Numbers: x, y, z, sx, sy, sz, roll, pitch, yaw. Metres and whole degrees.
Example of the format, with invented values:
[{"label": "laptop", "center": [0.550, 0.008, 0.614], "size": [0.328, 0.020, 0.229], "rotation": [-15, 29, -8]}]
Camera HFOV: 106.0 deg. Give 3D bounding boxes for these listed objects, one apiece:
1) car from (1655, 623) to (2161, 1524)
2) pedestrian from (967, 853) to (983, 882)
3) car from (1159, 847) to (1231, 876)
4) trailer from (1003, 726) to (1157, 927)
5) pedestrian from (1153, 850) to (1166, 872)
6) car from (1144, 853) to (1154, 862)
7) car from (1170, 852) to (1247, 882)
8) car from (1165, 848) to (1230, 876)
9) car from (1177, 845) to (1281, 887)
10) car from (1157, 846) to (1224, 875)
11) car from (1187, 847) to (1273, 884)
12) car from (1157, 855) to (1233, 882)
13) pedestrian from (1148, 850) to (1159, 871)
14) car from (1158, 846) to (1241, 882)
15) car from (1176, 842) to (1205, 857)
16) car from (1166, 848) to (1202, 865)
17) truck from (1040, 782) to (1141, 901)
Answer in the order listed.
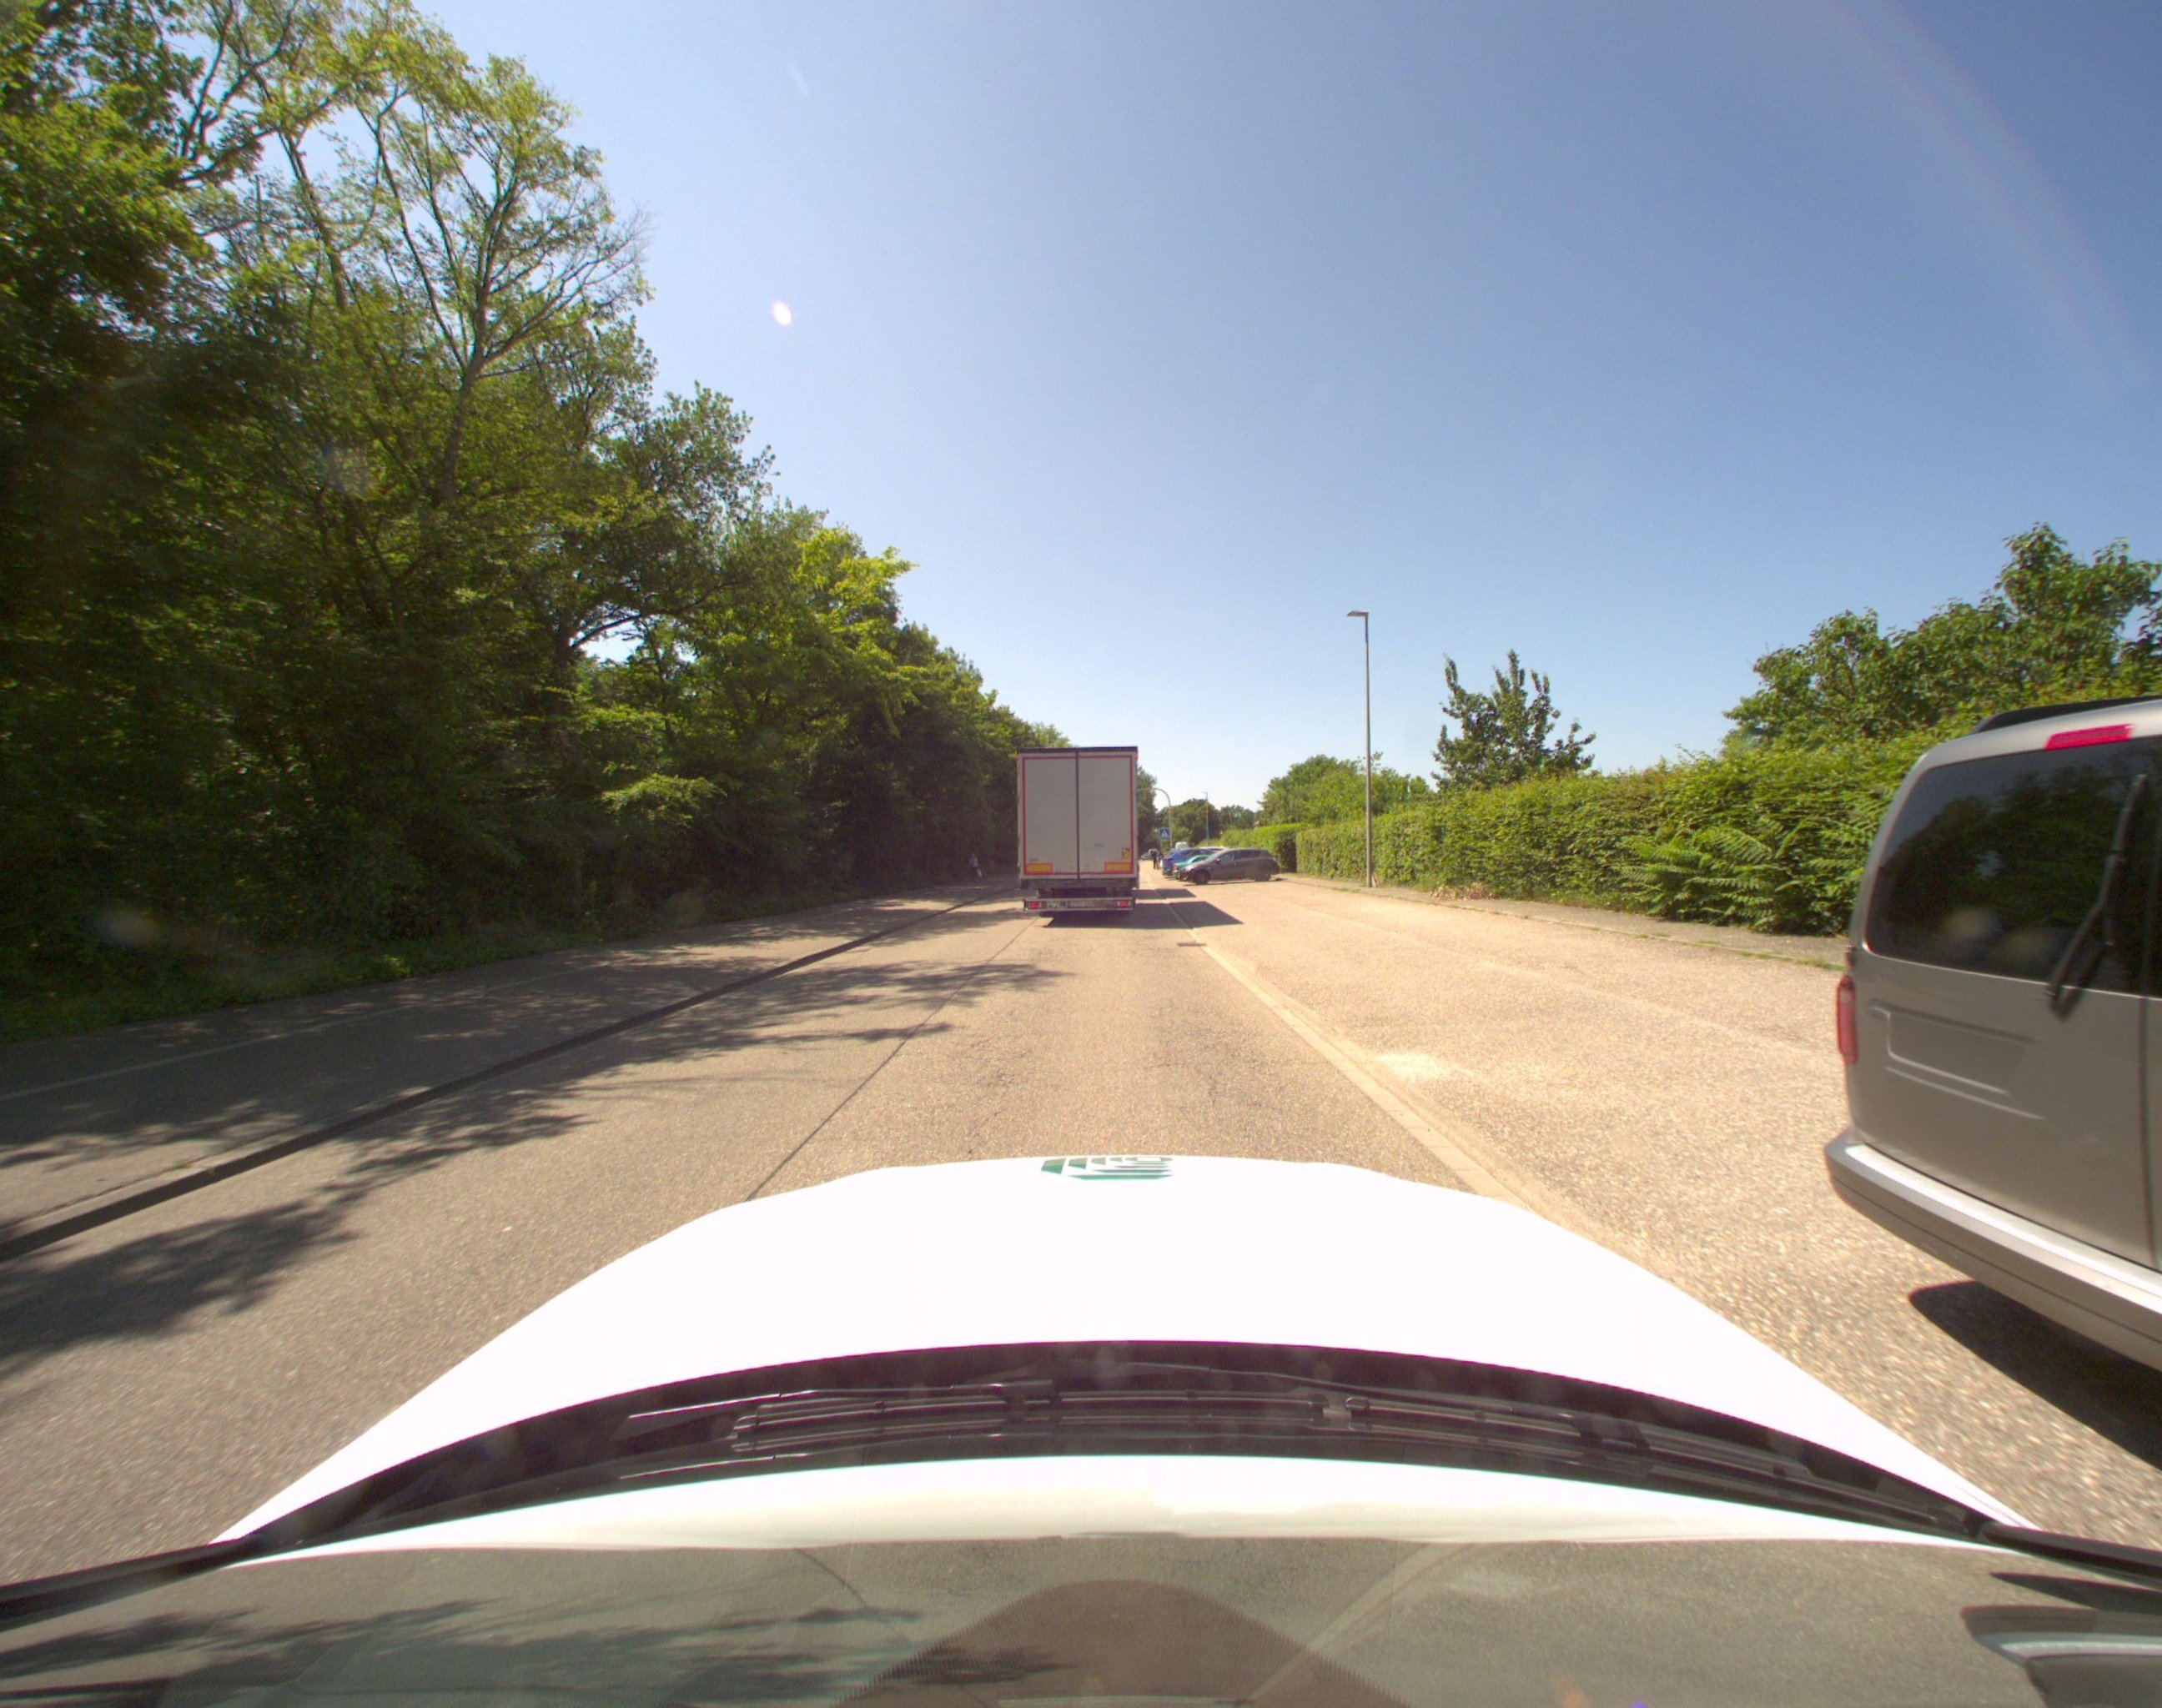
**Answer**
[{"label": "car", "center": [4.492, 0.302, 2.033], "size": [4.604, 1.848, 1.996], "rotation": [-4, 0, 1]}, {"label": "pedestrian", "center": [-6.100, 0.769, 46.911], "size": [0.825, 1.622, 0.783], "rotation": [0, 0, 1]}, {"label": "car", "center": [7.042, 0.478, 50.541], "size": [4.220, 1.654, 1.900], "rotation": [-2, -2, 1]}, {"label": "trailer", "center": [0.176, -0.580, 22.785], "size": [3.101, 4.102, 11.542], "rotation": [-2, 0, 2]}, {"label": "pedestrian", "center": [6.862, 0.594, 71.055], "size": [0.902, 1.798, 0.937], "rotation": [-4, -1, 9]}, {"label": "car", "center": [11.832, 0.559, 141.518], "size": [1.773, 1.486, 4.005], "rotation": [-1, 0, 4]}, {"label": "car", "center": [6.464, 0.663, 41.732], "size": [3.718, 1.268, 1.630], "rotation": [-4, -1, 4]}, {"label": "car", "center": [7.783, 0.503, 54.597], "size": [4.107, 1.657, 1.889], "rotation": [-3, 0, 4]}, {"label": "car", "center": [6.404, 0.528, 35.554], "size": [4.147, 1.495, 1.884], "rotation": [-4, -1, 2]}, {"label": "car", "center": [7.615, 0.441, 57.154], "size": [4.388, 1.698, 1.877], "rotation": [-4, -1, 1]}, {"label": "car", "center": [7.034, 0.540, 38.724], "size": [3.787, 1.455, 1.775], "rotation": [-4, -1, 2]}, {"label": "car", "center": [6.625, 0.850, 47.537], "size": [4.121, 1.439, 1.812], "rotation": [-1, 0, -3]}, {"label": "pedestrian", "center": [6.591, 0.551, 73.637], "size": [0.817, 1.834, 0.794], "rotation": [-4, -1, 9]}, {"label": "car", "center": [6.432, 0.536, 44.537], "size": [4.221, 1.634, 1.824], "rotation": [-4, 0, 2]}, {"label": "car", "center": [15.459, -0.609, 115.161], "size": [3.936, 1.798, 1.816], "rotation": [-4, -3, 6]}, {"label": "car", "center": [11.930, 0.253, 94.600], "size": [3.943, 1.765, 1.813], "rotation": [-3, 0, 0]}, {"label": "truck", "center": [0.396, -0.400, 29.153], "size": [3.102, 3.725, 6.416], "rotation": [-2, 0, 2]}]
